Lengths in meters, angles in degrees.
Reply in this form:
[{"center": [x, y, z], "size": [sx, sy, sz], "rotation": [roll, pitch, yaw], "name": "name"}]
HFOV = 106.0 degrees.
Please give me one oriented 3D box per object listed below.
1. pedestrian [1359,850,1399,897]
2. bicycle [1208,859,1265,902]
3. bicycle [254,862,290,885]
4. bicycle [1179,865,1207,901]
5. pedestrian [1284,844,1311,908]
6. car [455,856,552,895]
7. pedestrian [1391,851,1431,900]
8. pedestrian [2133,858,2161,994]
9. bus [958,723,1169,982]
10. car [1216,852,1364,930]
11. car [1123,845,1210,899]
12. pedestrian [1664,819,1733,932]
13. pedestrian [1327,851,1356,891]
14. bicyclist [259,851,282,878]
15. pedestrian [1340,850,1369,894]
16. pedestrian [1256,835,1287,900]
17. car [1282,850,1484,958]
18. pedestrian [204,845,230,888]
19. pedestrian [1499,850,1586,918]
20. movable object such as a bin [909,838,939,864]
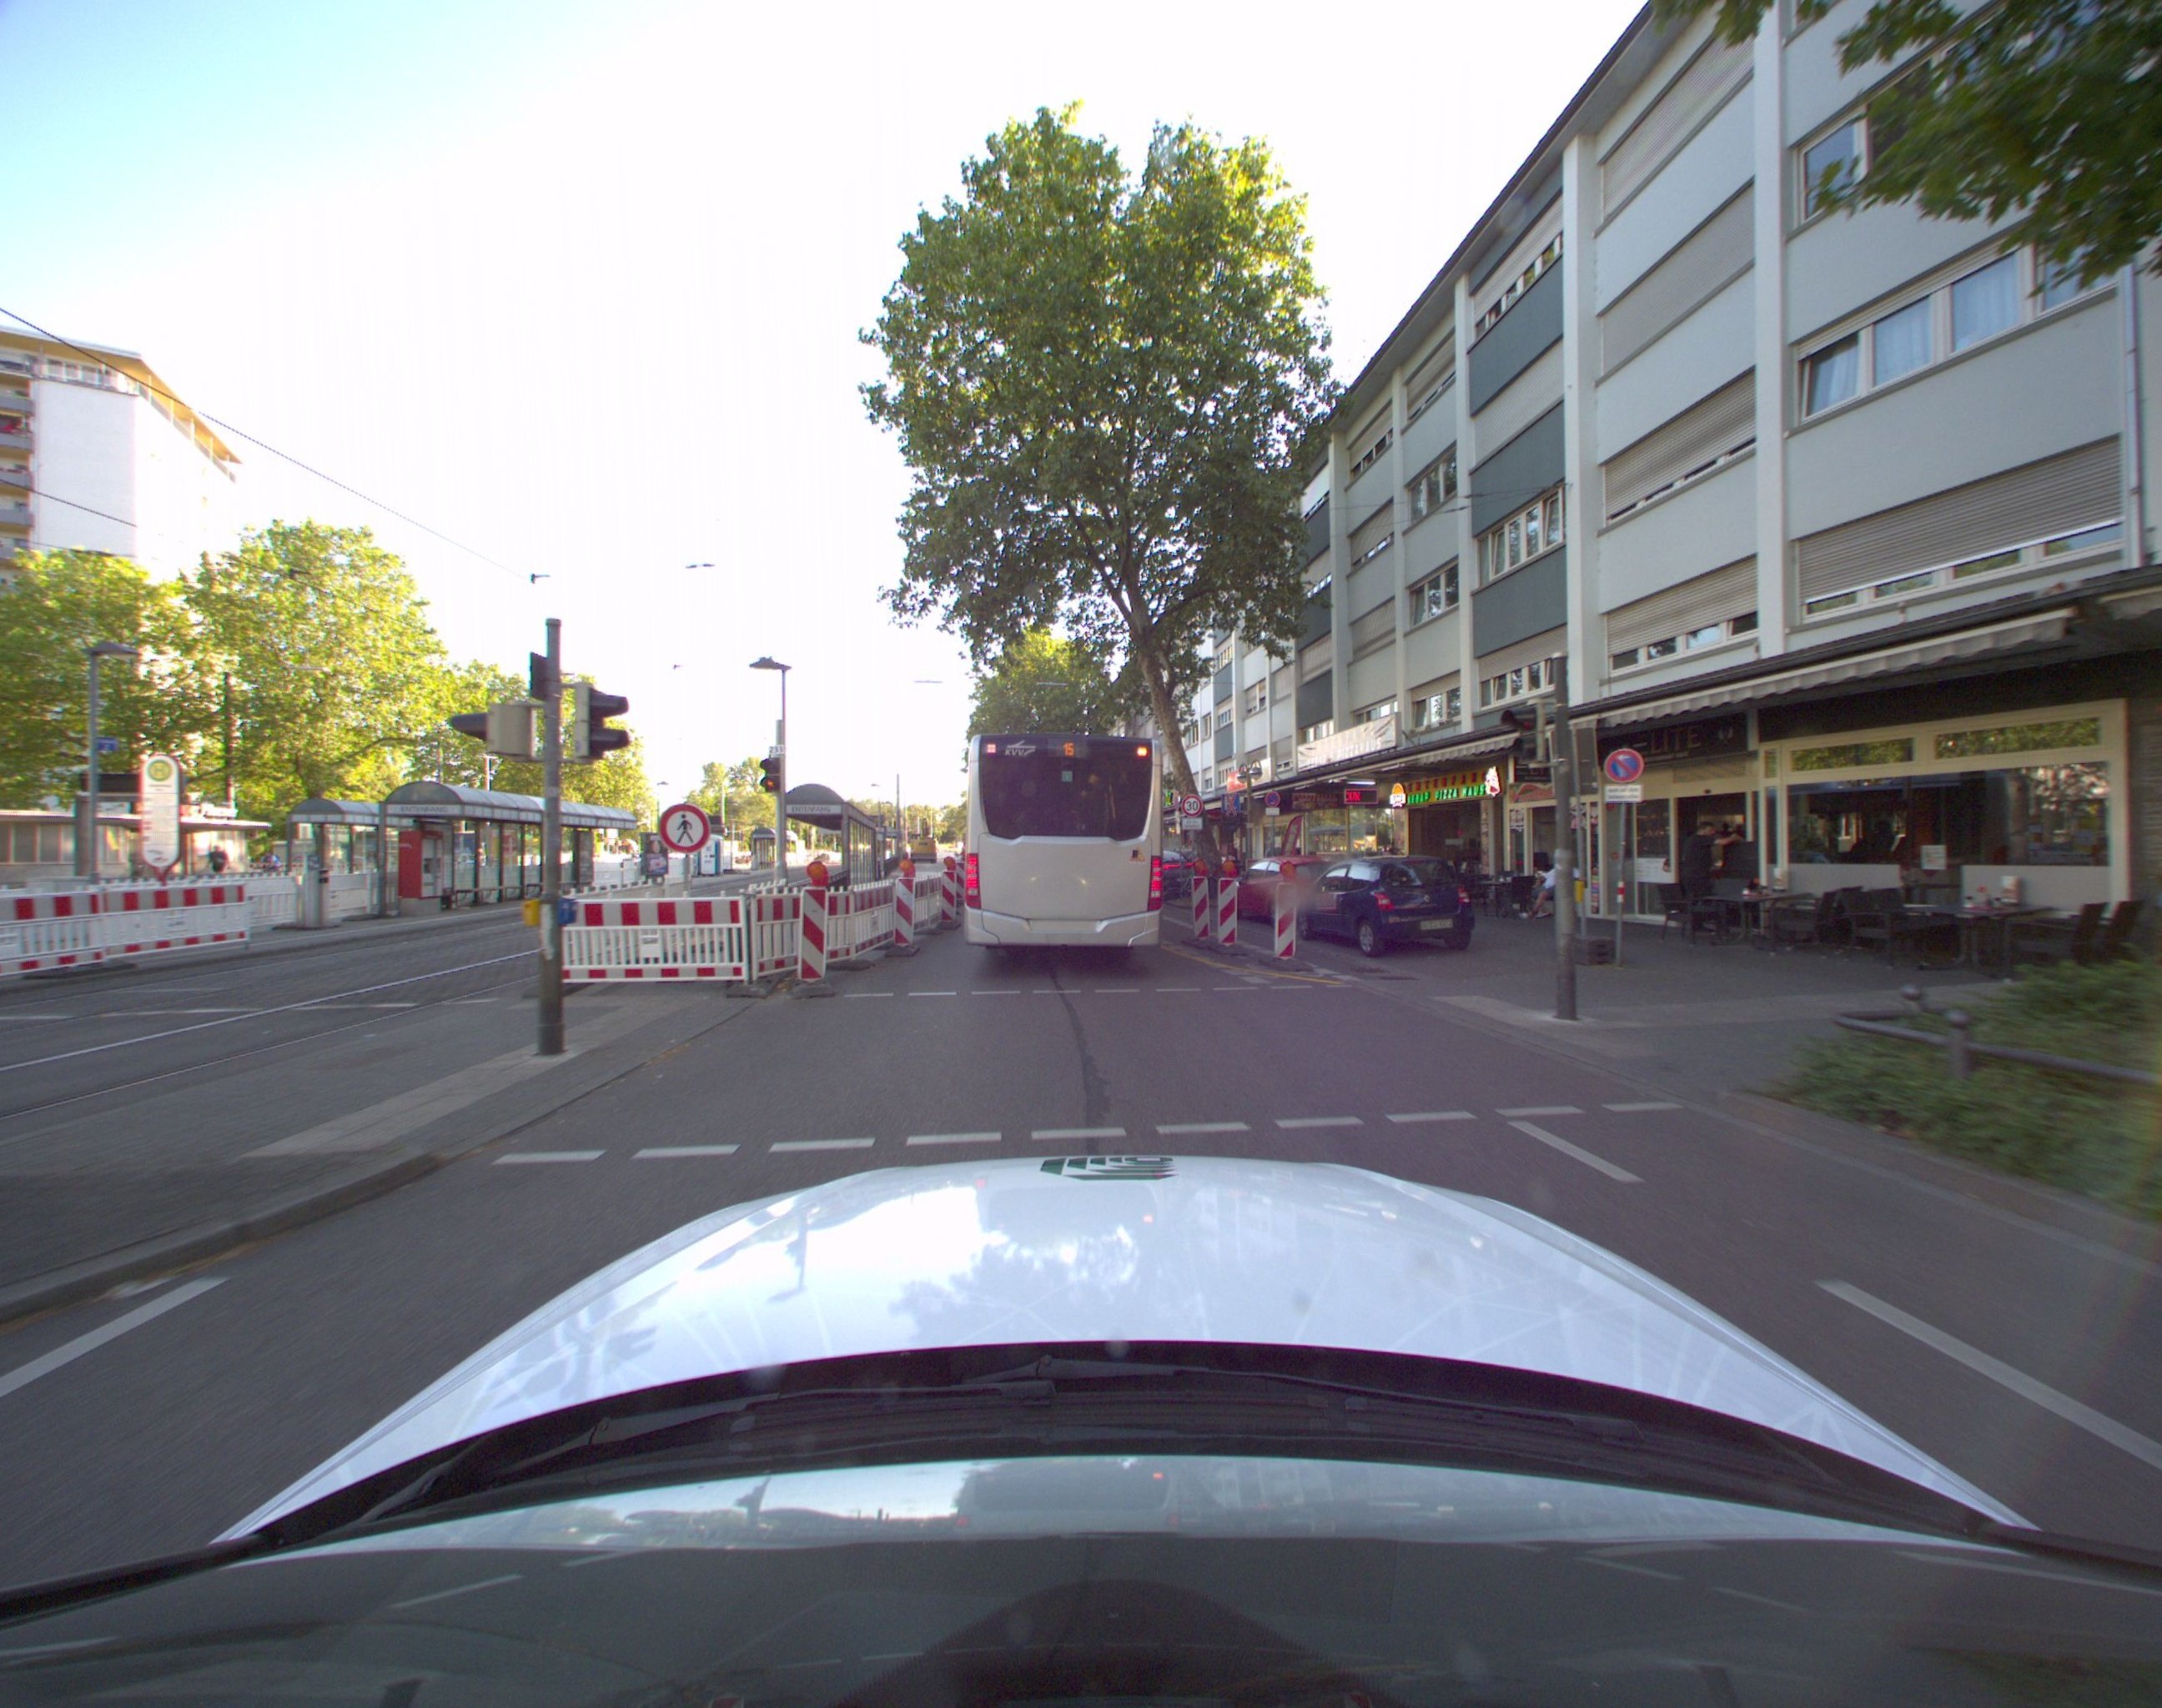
[{"center": [8.262, 0.536, 22.575], "size": [0.859, 1.220, 0.699], "rotation": [-4, 0, 9], "name": "pedestrian"}, {"center": [4.274, 0.735, 22.379], "size": [1.452, 1.066, 0.296], "rotation": [-4, 3, 6], "name": "bicycle"}, {"center": [-35.425, 0.833, 35.663], "size": [0.411, 0.967, 1.455], "rotation": [-1, 0, -14], "name": "bicycle"}, {"center": [3.166, 0.813, 23.069], "size": [0.295, 0.927, 1.125], "rotation": [-5, 4, -15], "name": "bicycle"}, {"center": [6.930, 0.696, 26.071], "size": [0.612, 2.013, 0.694], "rotation": [-1, 0, -9], "name": "pedestrian"}, {"center": [-28.025, 0.998, 39.737], "size": [1.947, 1.654, 4.675], "rotation": [-1, 1, -9], "name": "car"}, {"center": [8.192, 0.530, 20.211], "size": [0.592, 1.156, 0.751], "rotation": [-3, 0, -4], "name": "pedestrian"}, {"center": [10.532, 0.681, 7.648], "size": [0.652, 1.251, 0.711], "rotation": [-2, 2, -30], "name": "pedestrian"}, {"center": [-0.489, -0.027, 15.201], "size": [2.602, 3.169, 10.279], "rotation": [0, 0, -3], "name": "bus"}, {"center": [4.415, 0.713, 17.801], "size": [1.666, 1.429, 3.835], "rotation": [-3, 1, -10], "name": "car"}, {"center": [2.760, 0.539, 27.165], "size": [1.740, 1.597, 4.285], "rotation": [-3, 1, -10], "name": "car"}, {"center": [9.796, 0.326, 12.933], "size": [0.595, 1.735, 0.588], "rotation": [-3, 1, -8], "name": "pedestrian"}, {"center": [8.093, 0.517, 25.330], "size": [0.674, 1.203, 0.705], "rotation": [-4, 0, 5], "name": "pedestrian"}, {"center": [-35.407, 0.464, 35.587], "size": [0.411, 1.173, 0.660], "rotation": [-1, 0, -14], "name": "bicyclist"}, {"center": [8.154, 0.531, 24.296], "size": [0.613, 1.243, 0.712], "rotation": [-4, 0, 4], "name": "pedestrian"}, {"center": [6.028, 0.430, 25.773], "size": [0.691, 2.013, 0.693], "rotation": [-1, 0, -13], "name": "pedestrian"}, {"center": [4.857, 0.711, 13.635], "size": [1.618, 1.466, 3.595], "rotation": [-3, 1, -8], "name": "car"}, {"center": [-36.553, 0.525, 34.451], "size": [0.570, 1.809, 0.606], "rotation": [-1, 0, -29], "name": "pedestrian"}, {"center": [9.062, 0.570, 16.011], "size": [1.200, 1.232, 0.778], "rotation": [-4, 0, -4], "name": "pedestrian"}, {"center": [-15.188, -0.272, 78.949], "size": [2.807, 2.461, 3.986], "rotation": [-1, 0, -10], "name": "movable object such as a bin"}]
